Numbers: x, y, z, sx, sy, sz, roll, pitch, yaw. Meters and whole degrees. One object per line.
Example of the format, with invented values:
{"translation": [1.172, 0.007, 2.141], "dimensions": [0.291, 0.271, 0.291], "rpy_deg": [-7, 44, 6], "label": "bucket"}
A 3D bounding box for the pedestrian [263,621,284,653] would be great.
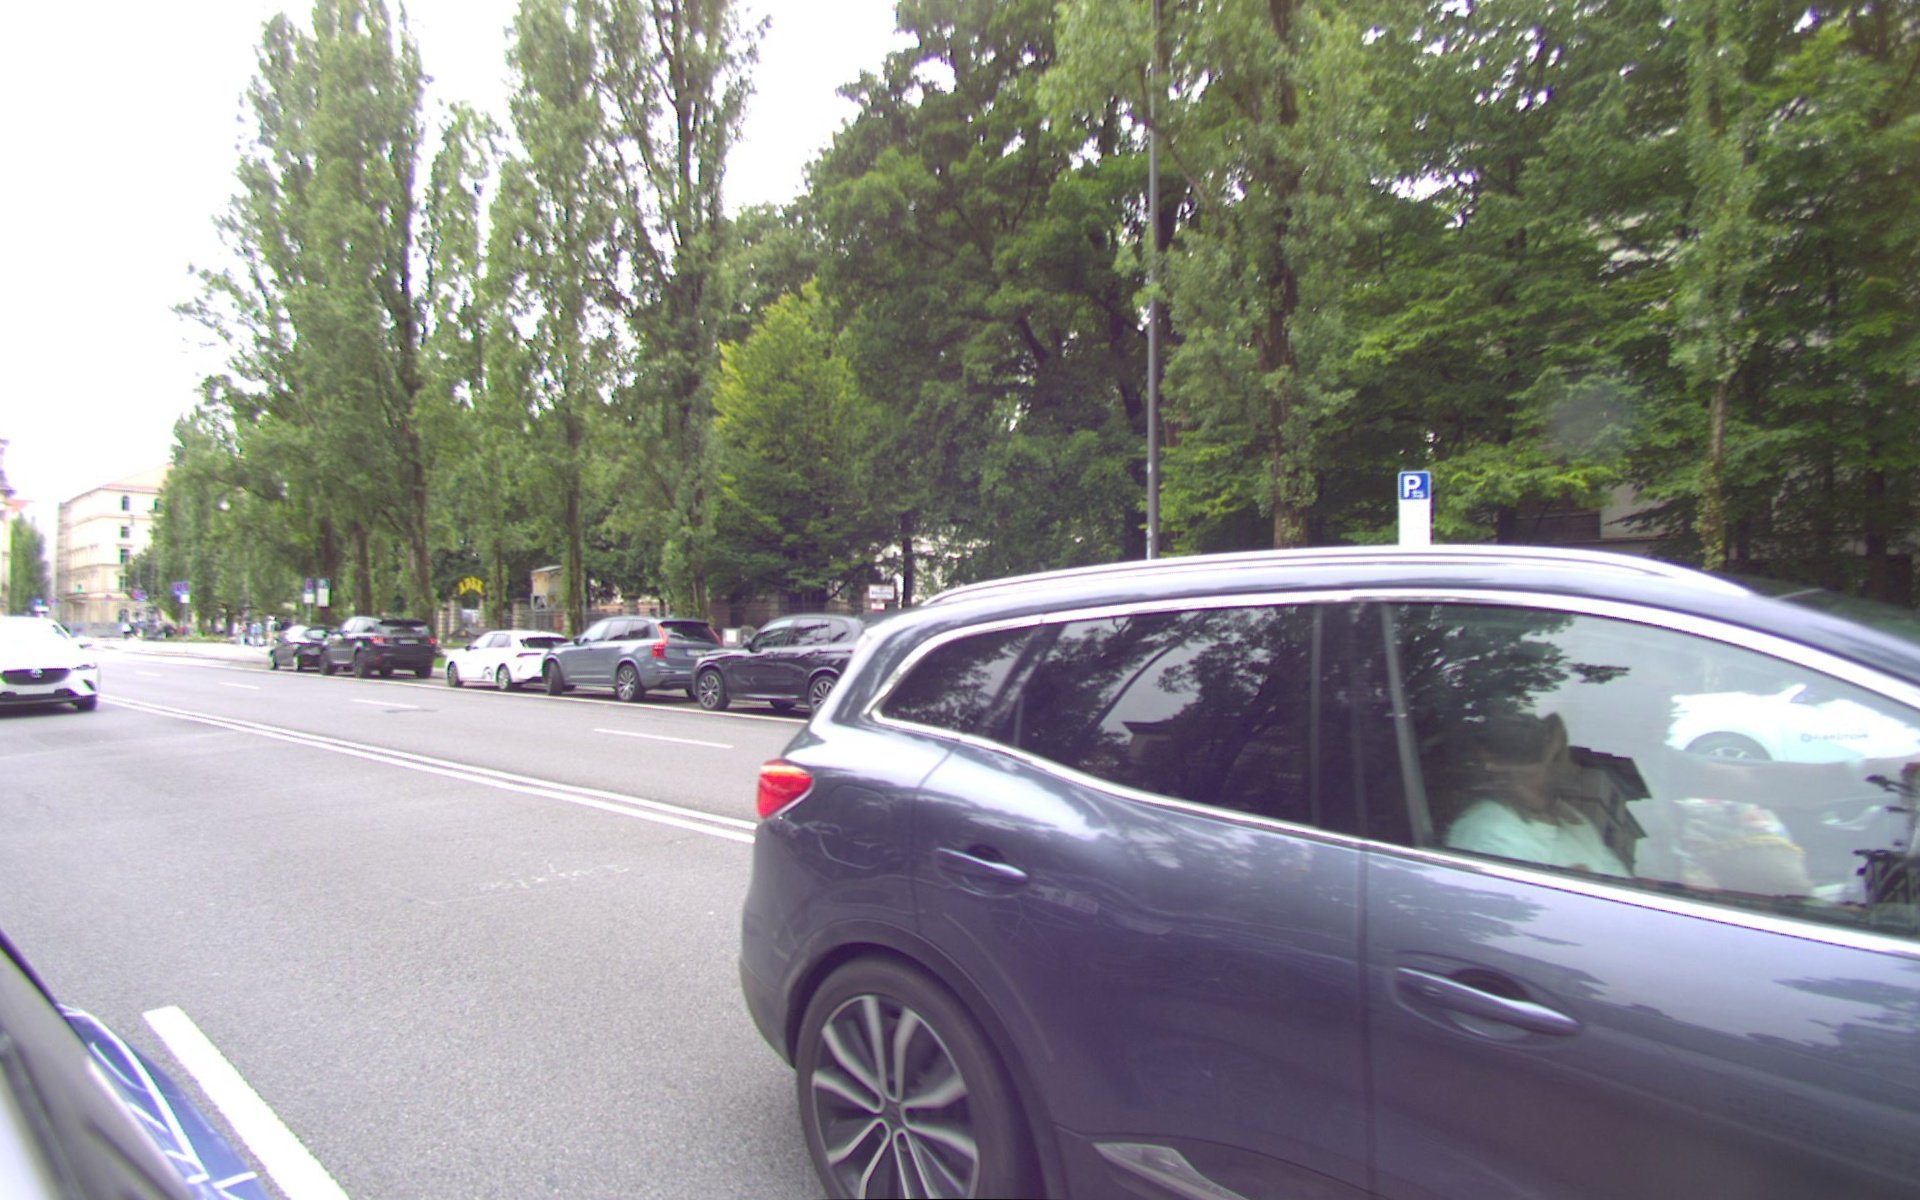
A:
{"translation": [-39.833, 2.145, 58.732], "dimensions": [1.092, 1.847, 0.702], "rpy_deg": [-1, -2, 39], "label": "pedestrian"}

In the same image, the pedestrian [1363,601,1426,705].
{"translation": [7.232, 0.875, 16.843], "dimensions": [0.751, 1.677, 0.730], "rpy_deg": [-2, -2, 41], "label": "pedestrian"}

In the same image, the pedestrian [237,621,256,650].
{"translation": [-41.966, 2.081, 59.546], "dimensions": [0.885, 1.713, 0.681], "rpy_deg": [-2, -2, 40], "label": "pedestrian"}

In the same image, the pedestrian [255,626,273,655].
{"translation": [-41.329, 2.407, 60.074], "dimensions": [0.910, 1.729, 0.653], "rpy_deg": [-2, -2, 40], "label": "pedestrian"}

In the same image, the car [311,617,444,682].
{"translation": [-17.589, 1.477, 30.471], "dimensions": [4.798, 1.800, 2.024], "rpy_deg": [-1, -4, 42], "label": "car"}

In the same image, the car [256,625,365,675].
{"translation": [-22.275, 1.703, 34.657], "dimensions": [4.386, 1.596, 1.924], "rpy_deg": [-2, -4, 41], "label": "car"}

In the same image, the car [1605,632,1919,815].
{"translation": [8.233, 1.047, 8.836], "dimensions": [4.229, 1.463, 1.753], "rpy_deg": [-1, -4, 39], "label": "car"}

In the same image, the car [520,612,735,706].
{"translation": [-7.217, 1.228, 21.698], "dimensions": [5.176, 1.803, 1.890], "rpy_deg": [-1, -5, 40], "label": "car"}

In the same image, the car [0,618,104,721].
{"translation": [-15.672, 1.081, 16.634], "dimensions": [4.007, 1.536, 1.885], "rpy_deg": [-2, -2, 41], "label": "car"}

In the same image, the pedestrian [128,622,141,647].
{"translation": [-60.204, 2.515, 73.826], "dimensions": [0.581, 1.744, 0.527], "rpy_deg": [-1, -2, 29], "label": "pedestrian"}

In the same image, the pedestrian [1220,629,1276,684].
{"translation": [6.622, 1.286, 23.255], "dimensions": [0.922, 1.187, 0.957], "rpy_deg": [-1, 0, 40], "label": "pedestrian"}

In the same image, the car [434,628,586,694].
{"translation": [-11.120, 1.465, 24.907], "dimensions": [4.269, 1.470, 1.687], "rpy_deg": [-1, -4, 40], "label": "car"}

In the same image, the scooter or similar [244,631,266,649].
{"translation": [-46.752, 2.641, 67.151], "dimensions": [1.413, 1.187, 0.738], "rpy_deg": [-1, -3, 36], "label": "scooter or similar"}

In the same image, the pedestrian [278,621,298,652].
{"translation": [-39.378, 2.117, 59.299], "dimensions": [1.092, 1.786, 0.702], "rpy_deg": [-1, -2, 39], "label": "pedestrian"}

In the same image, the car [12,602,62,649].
{"translation": [-62.396, 1.691, 68.420], "dimensions": [4.479, 1.342, 1.775], "rpy_deg": [29, 12, 36], "label": "car"}

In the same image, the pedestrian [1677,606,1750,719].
{"translation": [12.390, 1.004, 16.632], "dimensions": [0.889, 1.785, 0.729], "rpy_deg": [-1, -1, 41], "label": "pedestrian"}

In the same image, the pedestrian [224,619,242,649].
{"translation": [-42.467, 1.998, 59.101], "dimensions": [0.907, 1.760, 0.623], "rpy_deg": [-2, -2, 40], "label": "pedestrian"}

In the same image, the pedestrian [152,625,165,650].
{"translation": [-56.238, 2.595, 70.984], "dimensions": [0.581, 1.744, 0.527], "rpy_deg": [-1, -2, 29], "label": "pedestrian"}

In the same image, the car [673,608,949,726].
{"translation": [-2.697, 1.119, 17.635], "dimensions": [4.890, 1.781, 1.921], "rpy_deg": [-1, -4, 39], "label": "car"}

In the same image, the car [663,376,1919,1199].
{"translation": [1.392, 0.559, 2.018], "dimensions": [4.182, 1.598, 1.817], "rpy_deg": [-1, -1, 40], "label": "car"}

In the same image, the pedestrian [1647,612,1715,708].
{"translation": [12.581, 1.020, 17.655], "dimensions": [0.881, 1.611, 0.729], "rpy_deg": [-1, -1, 41], "label": "pedestrian"}

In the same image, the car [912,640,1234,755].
{"translation": [1.491, 1.284, 14.256], "dimensions": [4.230, 1.344, 1.808], "rpy_deg": [-1, -4, 40], "label": "car"}

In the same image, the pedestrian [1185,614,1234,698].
{"translation": [5.354, 1.180, 21.718], "dimensions": [0.668, 1.755, 0.944], "rpy_deg": [-2, -2, 41], "label": "pedestrian"}
